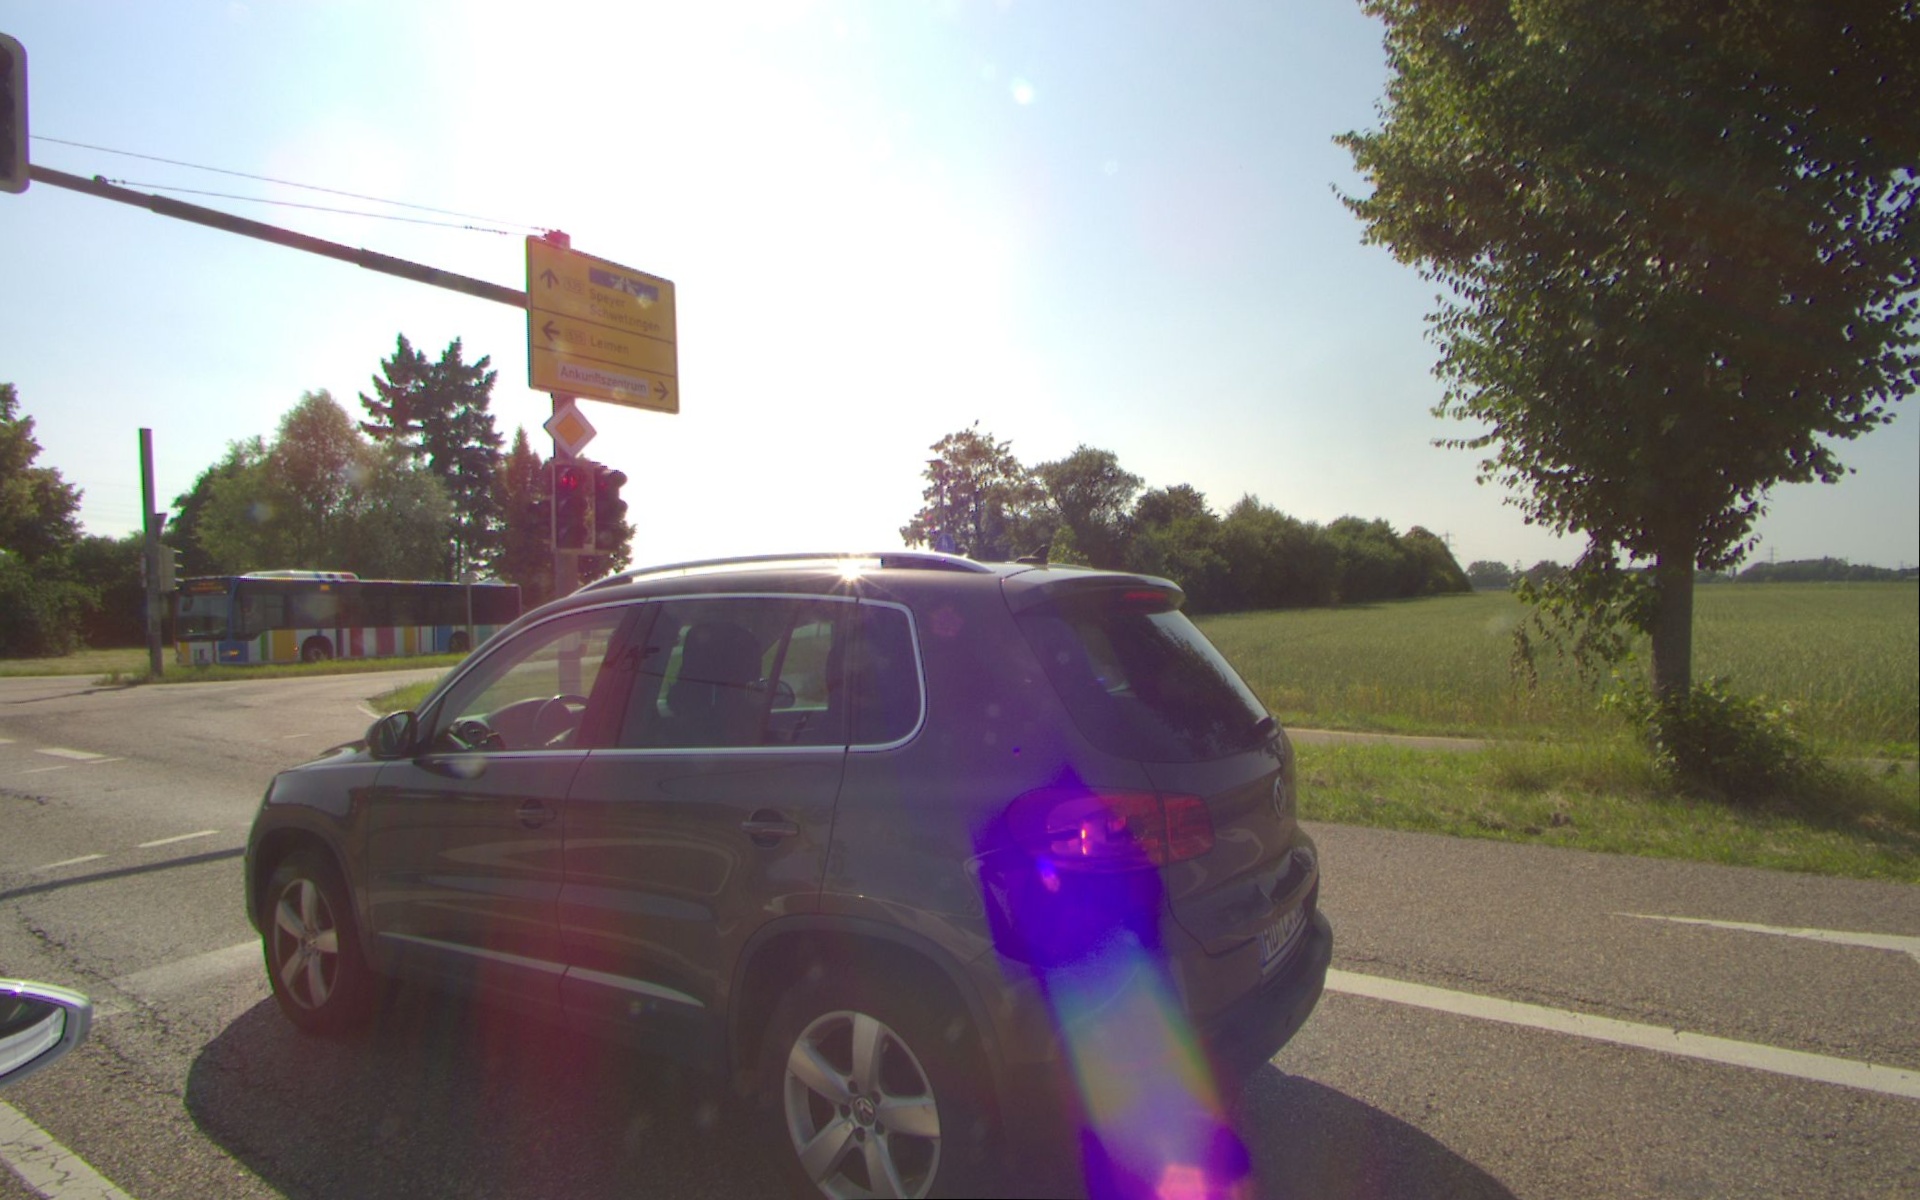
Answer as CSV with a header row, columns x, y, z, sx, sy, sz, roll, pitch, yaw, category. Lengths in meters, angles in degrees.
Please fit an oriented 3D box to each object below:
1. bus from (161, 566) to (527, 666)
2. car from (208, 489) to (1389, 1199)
x,y,z,sx,sy,sz,roll,pitch,yaw,category
-20.686,0.419,35.183,2.889,2.916,11.955,-1,0,17,bus
-0.774,0.693,3.628,4.086,1.677,1.753,-1,-2,32,car
